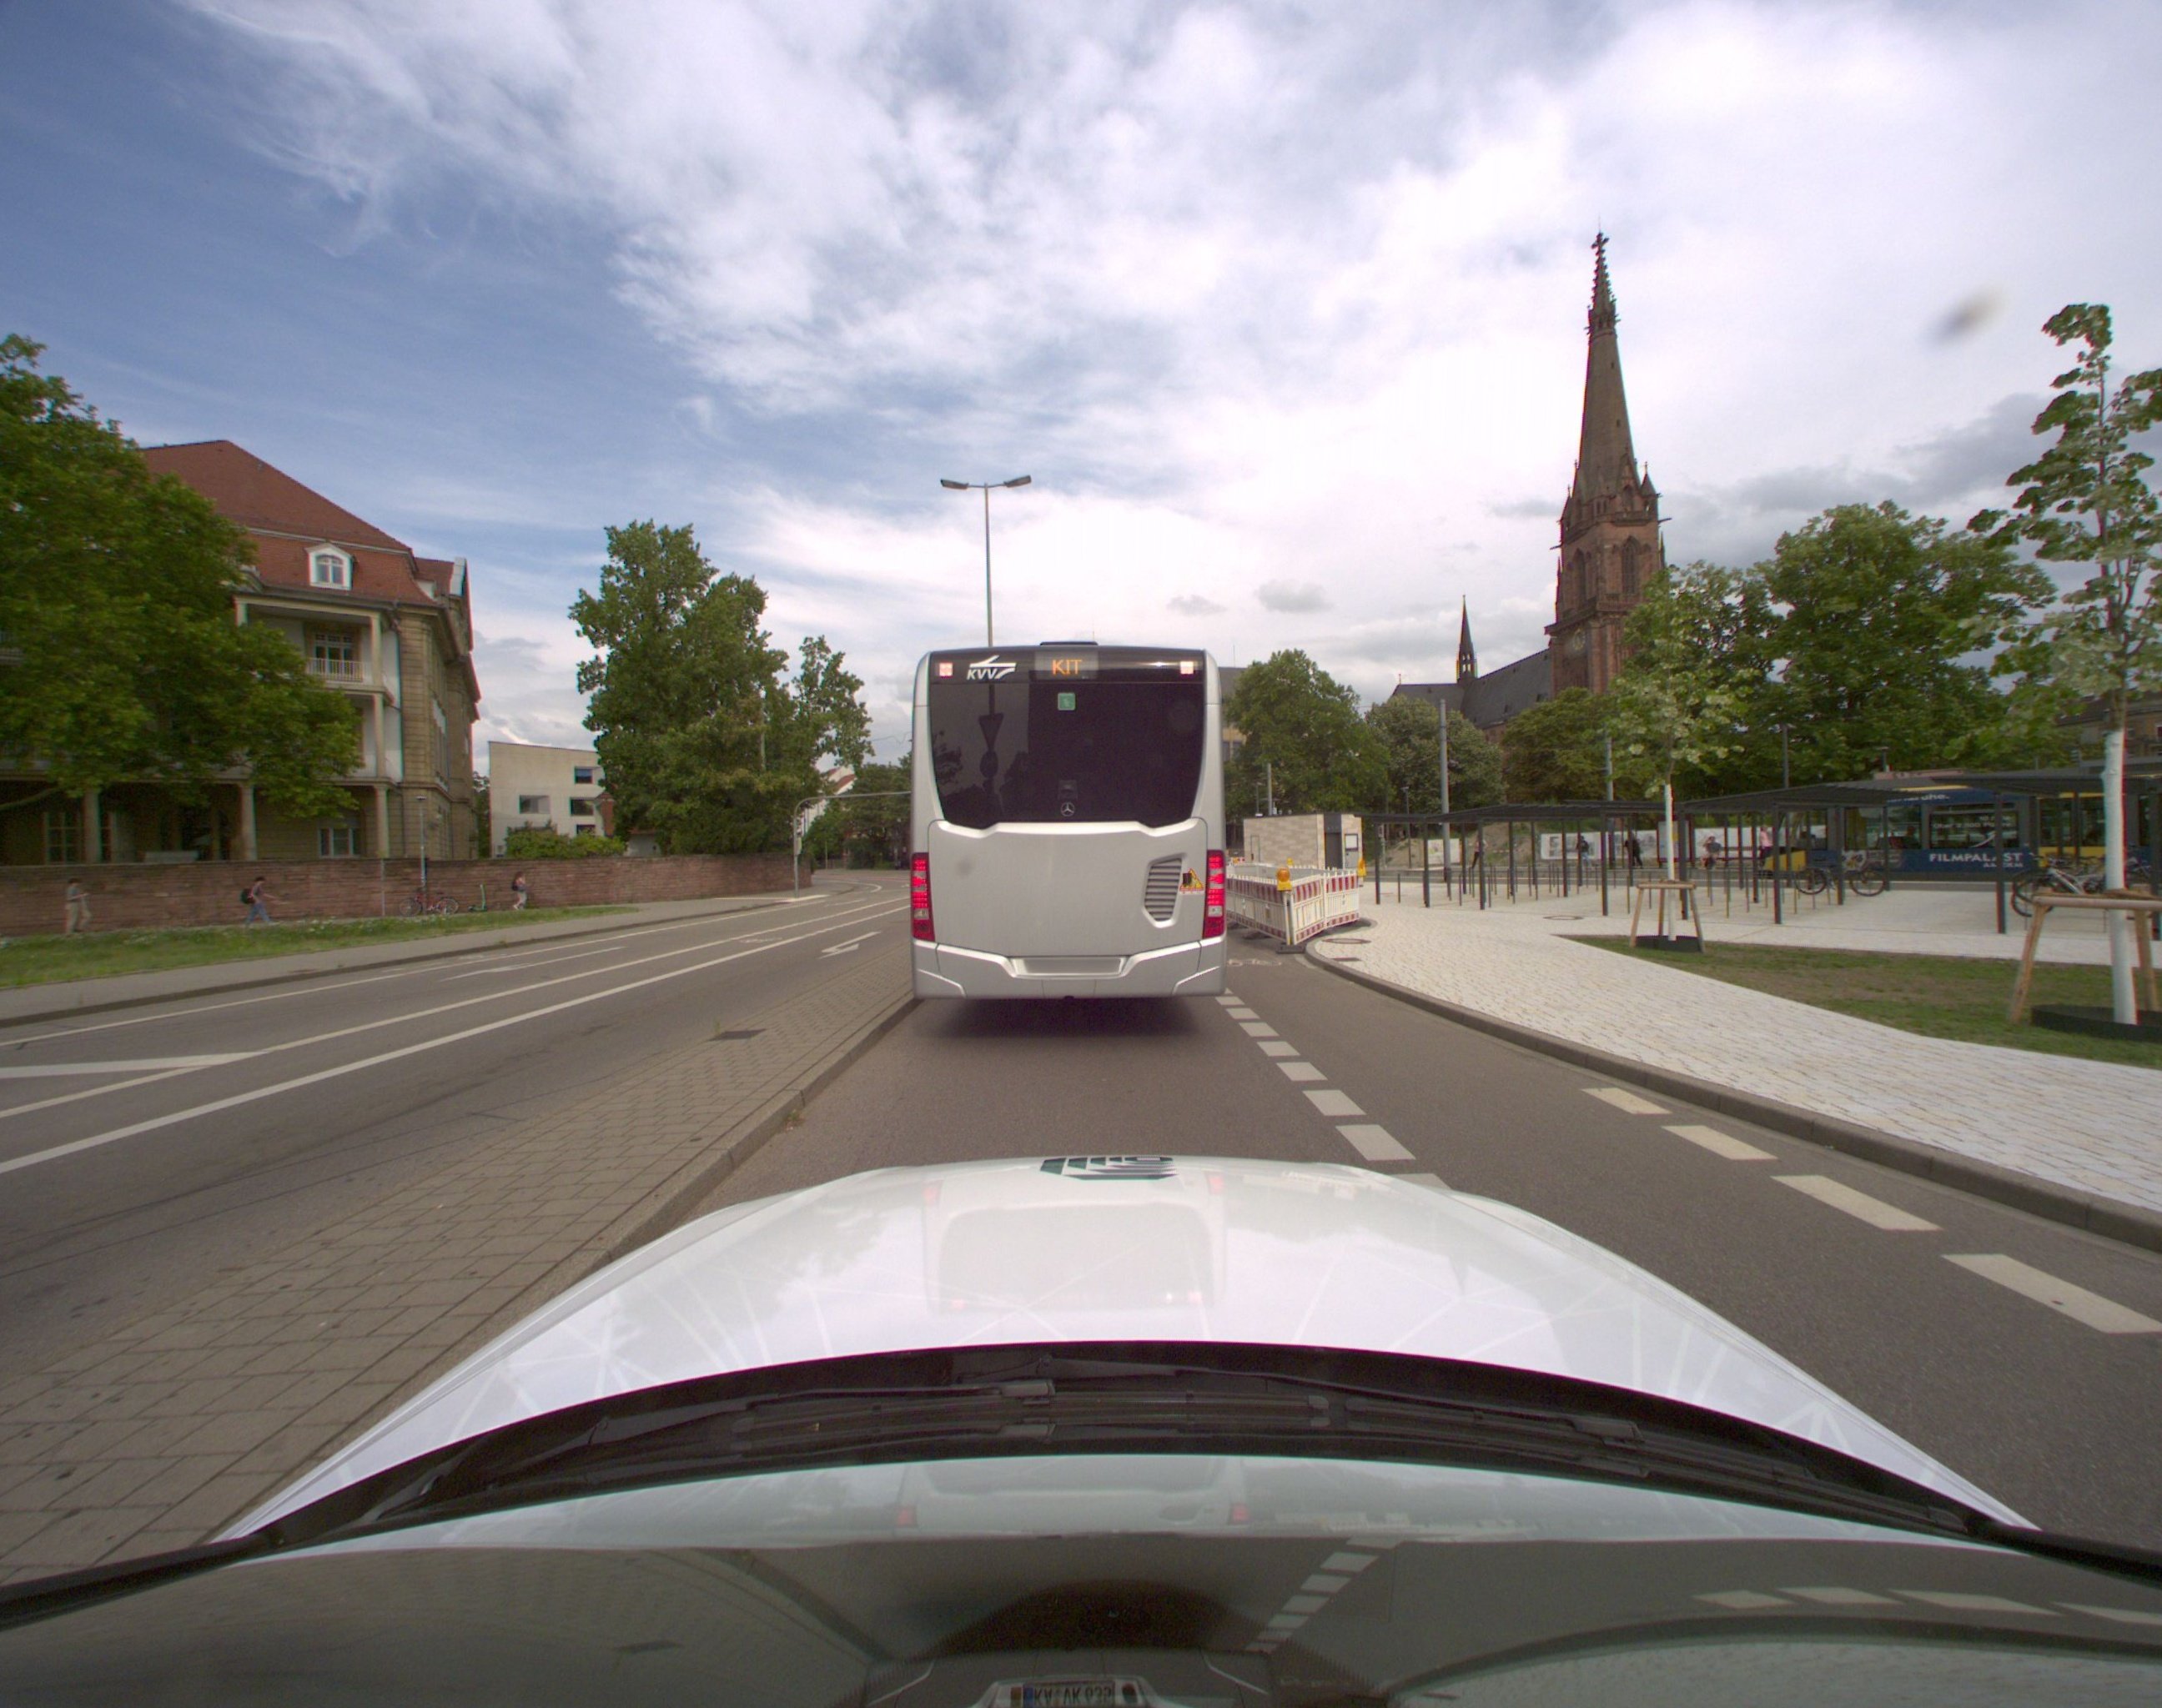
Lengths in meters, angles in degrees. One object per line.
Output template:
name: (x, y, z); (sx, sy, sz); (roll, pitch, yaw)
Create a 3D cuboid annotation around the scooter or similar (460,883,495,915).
scooter or similar: (-24.557, 1.805, 33.146); (0.519, 1.139, 1.513); (-2, 2, -13)

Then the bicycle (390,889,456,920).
bicycle: (-25.674, 1.948, 31.800); (1.937, 1.005, 0.770); (-4, 3, -42)

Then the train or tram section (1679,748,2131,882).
train or tram section: (24.175, -1.114, 24.700); (3.076, 3.276, 9.270); (-3, 3, -35)

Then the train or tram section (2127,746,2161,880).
train or tram section: (29.539, -0.983, 16.999); (3.076, 3.212, 9.330); (-3, 3, -35)

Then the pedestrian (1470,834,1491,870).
pedestrian: (20.494, -0.101, 41.769); (0.816, 1.800, 0.755); (-1, 2, 11)

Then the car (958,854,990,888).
car: (-7.134, 1.106, 54.722); (1.991, 2.013, 3.992); (-2, 2, -7)

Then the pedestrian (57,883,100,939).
pedestrian: (-31.484, 1.786, 25.582); (0.570, 1.654, 0.787); (0, 3, 38)

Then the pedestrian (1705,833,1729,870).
pedestrian: (26.166, -0.114, 33.513); (0.694, 1.485, 0.670); (-3, 3, -42)

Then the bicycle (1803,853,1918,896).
bicycle: (18.801, 0.473, 19.697); (0.587, 0.955, 1.944); (-3, 3, -38)

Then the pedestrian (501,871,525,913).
pedestrian: (-23.564, 1.571, 33.810); (0.525, 1.654, 0.634); (0, 3, 41)

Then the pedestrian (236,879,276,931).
pedestrian: (-27.995, 1.716, 27.628); (0.570, 1.654, 0.787); (0, 2, 33)

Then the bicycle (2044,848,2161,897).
bicycle: (22.092, 0.373, 17.397); (0.587, 0.970, 1.944); (-3, 3, -38)

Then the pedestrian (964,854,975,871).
pedestrian: (-13.007, 1.002, 95.131); (0.891, 2.013, 1.000); (-2, 0, -26)

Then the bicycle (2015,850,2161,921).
bicycle: (17.847, 0.523, 14.245); (0.587, 1.156, 1.942); (-3, 3, -44)

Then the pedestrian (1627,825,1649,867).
pedestrian: (24.481, -0.351, 35.783); (0.526, 1.800, 0.670); (-3, 3, -42)

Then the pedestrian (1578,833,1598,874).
pedestrian: (23.209, -0.029, 37.272); (0.526, 1.800, 0.670); (-3, 3, -42)

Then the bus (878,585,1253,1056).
bus: (-0.205, -0.191, 13.130); (2.696, 3.438, 14.177); (-1, -1, -1)

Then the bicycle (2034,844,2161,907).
bicycle: (20.118, 0.395, 15.878); (0.587, 1.156, 1.942); (-3, 3, -44)

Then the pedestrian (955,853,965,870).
pedestrian: (-14.516, 0.956, 98.030); (0.891, 2.013, 1.000); (-2, 0, -26)
